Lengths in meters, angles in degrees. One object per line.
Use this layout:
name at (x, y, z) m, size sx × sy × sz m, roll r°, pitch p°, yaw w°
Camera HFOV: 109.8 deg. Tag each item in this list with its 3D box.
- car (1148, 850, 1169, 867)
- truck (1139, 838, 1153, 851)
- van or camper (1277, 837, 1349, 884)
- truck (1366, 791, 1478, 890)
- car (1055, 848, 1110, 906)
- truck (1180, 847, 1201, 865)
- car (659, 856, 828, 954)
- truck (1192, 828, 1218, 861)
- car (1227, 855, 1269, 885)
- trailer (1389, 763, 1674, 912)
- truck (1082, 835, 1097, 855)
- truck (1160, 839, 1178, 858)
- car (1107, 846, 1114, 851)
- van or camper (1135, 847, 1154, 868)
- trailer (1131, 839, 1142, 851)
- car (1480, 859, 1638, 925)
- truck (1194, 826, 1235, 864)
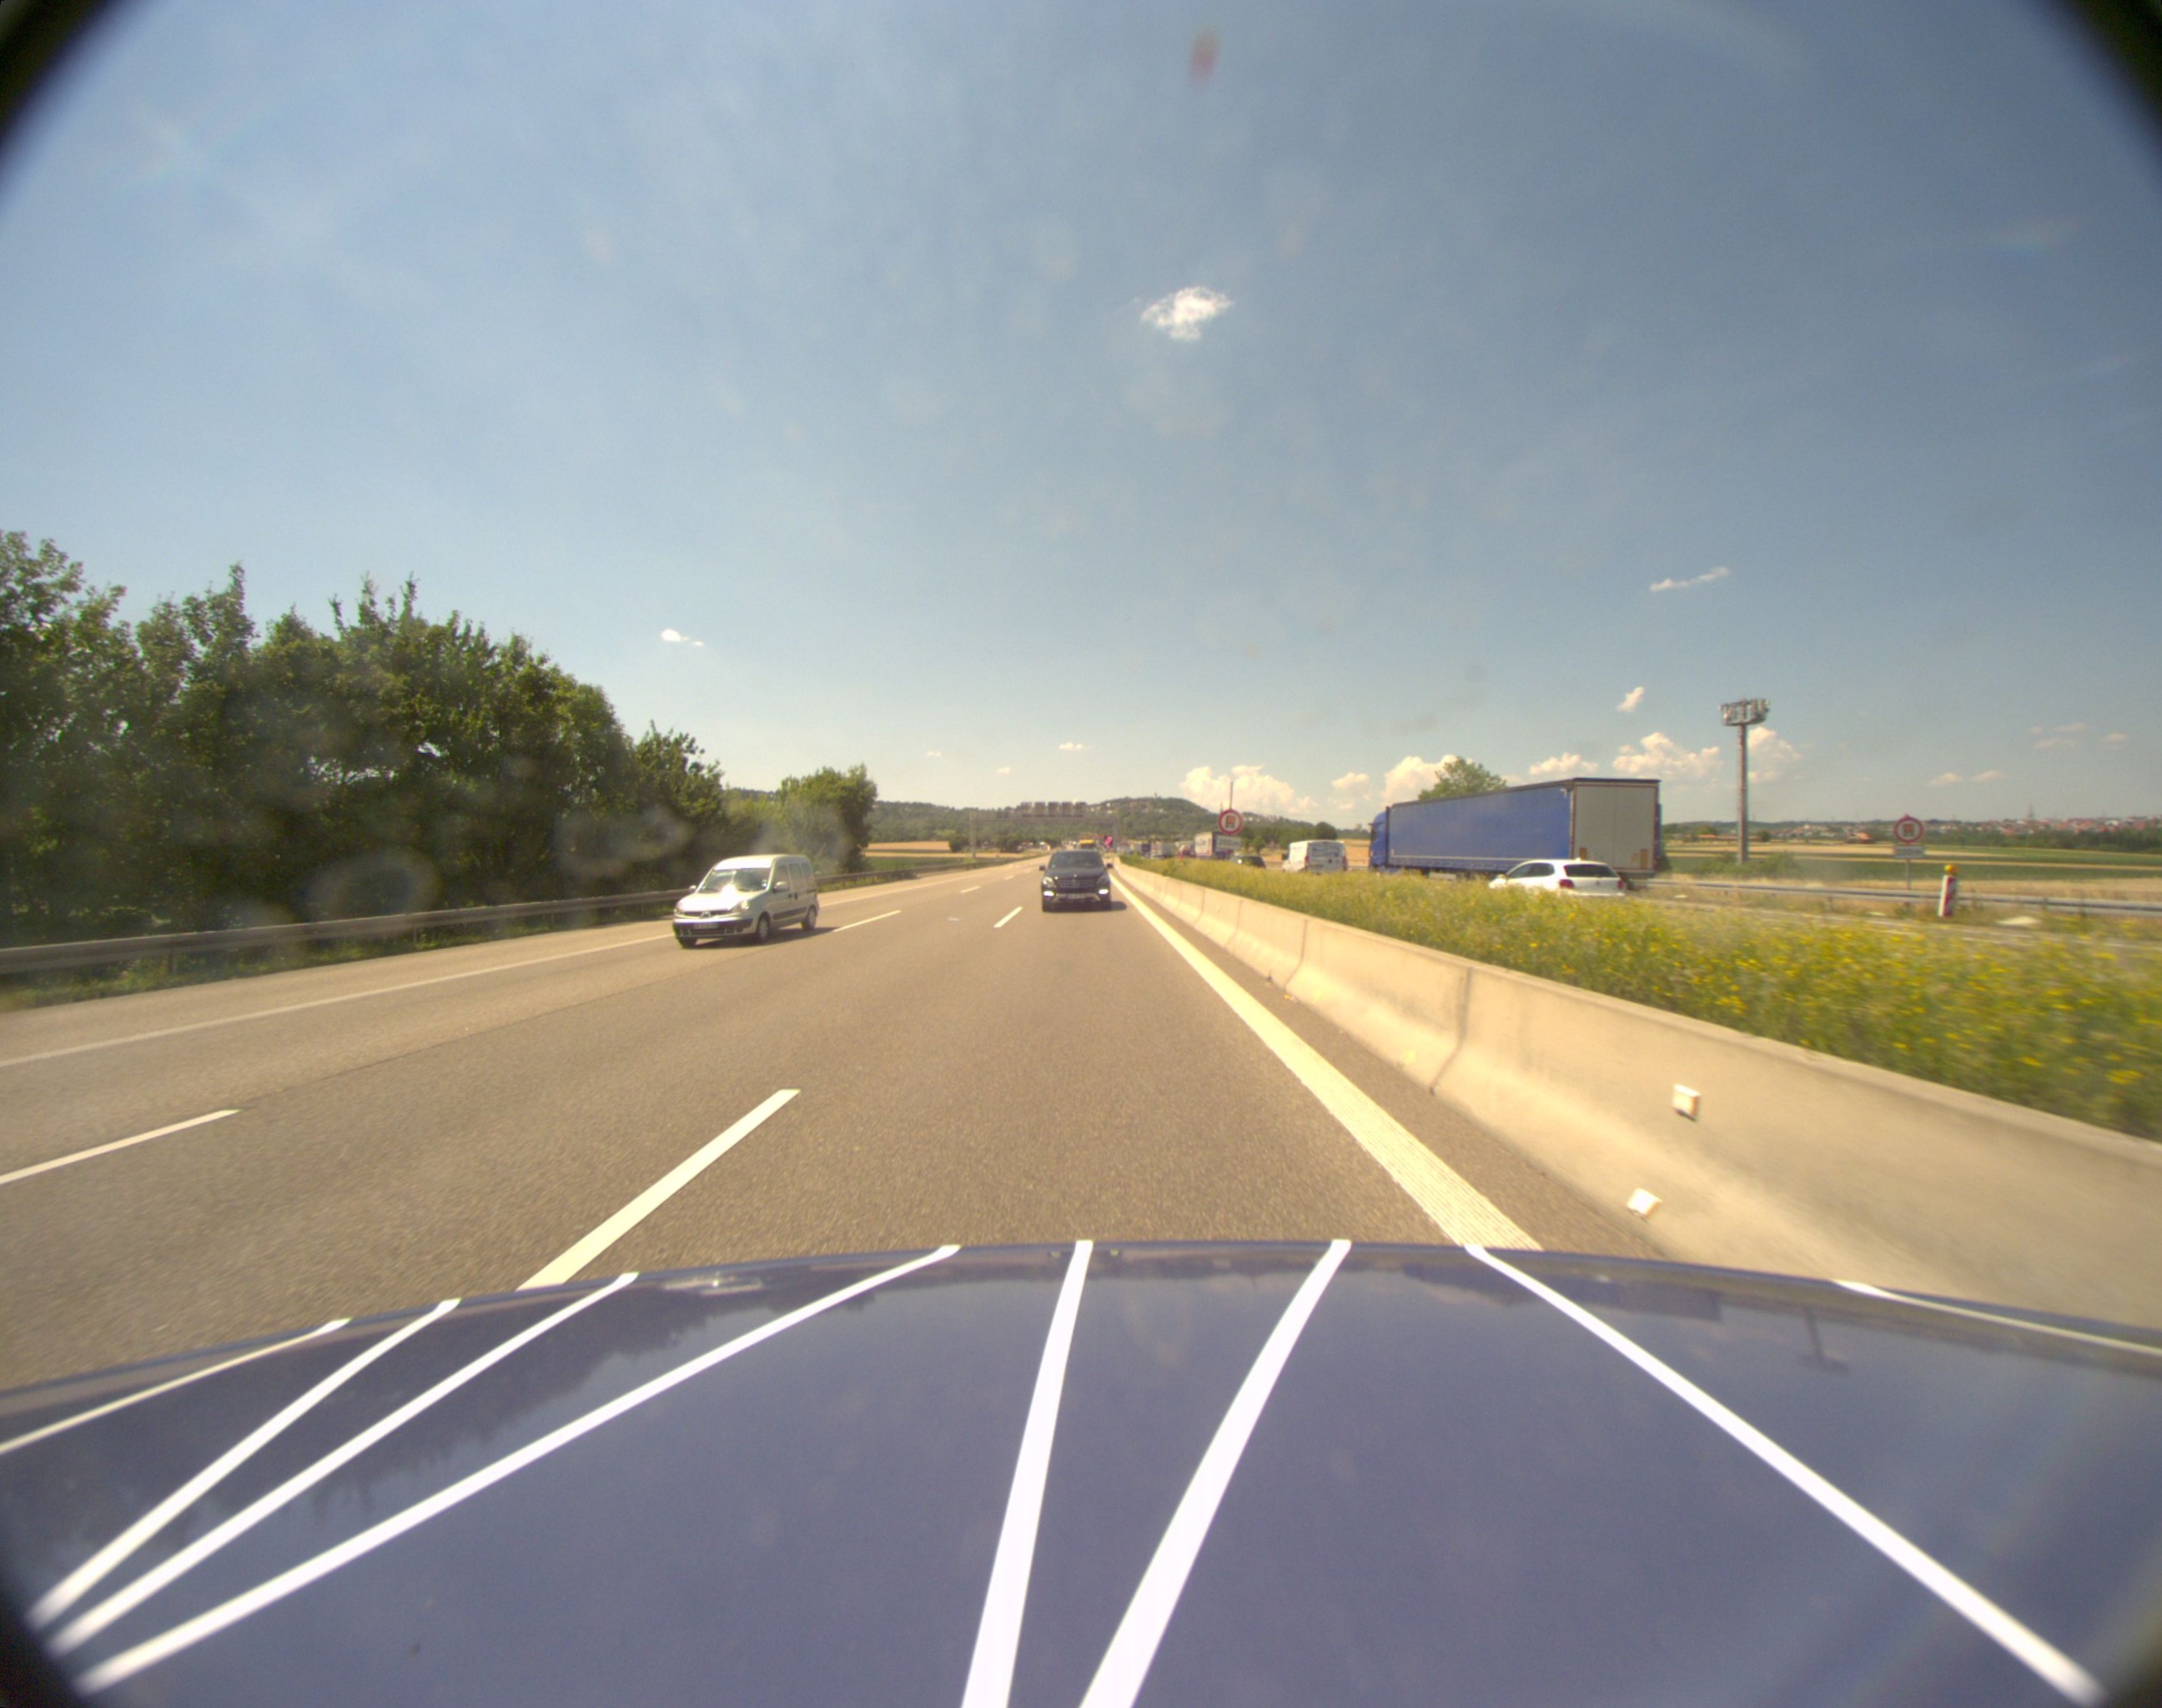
car at (8.912, 0.513, 87.536) m, size 1.998 × 1.934 × 4.794 m, roll 0°, pitch 1°, yaw 0°
truck at (18.012, -2.552, 210.002) m, size 2.983 × 3.587 × 9.992 m, roll -1°, pitch 0°, yaw 0°
van or camper at (11.914, 0.308, 39.456) m, size 2.099 × 2.261 × 5.493 m, roll 0°, pitch 0°, yaw 0°
truck at (16.000, -0.617, 36.115) m, size 2.872 × 4.325 × 5.585 m, roll 0°, pitch 1°, yaw 1°
car at (0.085, 0.683, 24.639) m, size 1.630 × 1.711 × 3.864 m, roll -1°, pitch 0°, yaw 1°
truck at (12.448, 0.205, 86.546) m, size 1.998 × 2.002 × 4.455 m, roll -1°, pitch 0°, yaw 3°
car at (-6.883, 0.948, 15.997) m, size 1.630 × 1.727 × 3.972 m, roll -2°, pitch 0°, yaw 1°
truck at (16.529, -1.235, 101.925) m, size 2.599 × 4.214 × 4.853 m, roll 2°, pitch 1°, yaw 0°
car at (8.477, 0.794, 38.759) m, size 1.388 × 1.460 × 3.195 m, roll 0°, pitch 0°, yaw 0°
trailer at (15.916, -0.523, 29.035) m, size 2.890 × 4.325 × 13.641 m, roll 0°, pitch 0°, yaw 1°
truck at (1.466, -1.549, 128.601) m, size 2.272 × 3.139 × 8.185 m, roll -2°, pitch 2°, yaw 1°
truck at (17.252, -1.123, 149.902) m, size 2.706 × 3.599 × 8.786 m, roll 1°, pitch 1°, yaw 2°
car at (9.763, -1.951, 252.011) m, size 1.899 × 1.569 × 4.935 m, roll -2°, pitch 2°, yaw 0°
van or camper at (8.142, 0.454, 97.933) m, size 2.153 × 2.613 × 4.397 m, roll 0°, pitch 1°, yaw 0°
trailer at (18.367, -2.961, 253.030) m, size 2.817 × 4.104 × 14.128 m, roll 0°, pitch 1°, yaw 0°
car at (12.002, 0.881, 19.400) m, size 1.621 × 1.455 × 3.864 m, roll 0°, pitch 0°, yaw 0°
truck at (16.482, -1.113, 94.748) m, size 2.599 × 4.214 × 14.121 m, roll 2°, pitch 1°, yaw 1°
